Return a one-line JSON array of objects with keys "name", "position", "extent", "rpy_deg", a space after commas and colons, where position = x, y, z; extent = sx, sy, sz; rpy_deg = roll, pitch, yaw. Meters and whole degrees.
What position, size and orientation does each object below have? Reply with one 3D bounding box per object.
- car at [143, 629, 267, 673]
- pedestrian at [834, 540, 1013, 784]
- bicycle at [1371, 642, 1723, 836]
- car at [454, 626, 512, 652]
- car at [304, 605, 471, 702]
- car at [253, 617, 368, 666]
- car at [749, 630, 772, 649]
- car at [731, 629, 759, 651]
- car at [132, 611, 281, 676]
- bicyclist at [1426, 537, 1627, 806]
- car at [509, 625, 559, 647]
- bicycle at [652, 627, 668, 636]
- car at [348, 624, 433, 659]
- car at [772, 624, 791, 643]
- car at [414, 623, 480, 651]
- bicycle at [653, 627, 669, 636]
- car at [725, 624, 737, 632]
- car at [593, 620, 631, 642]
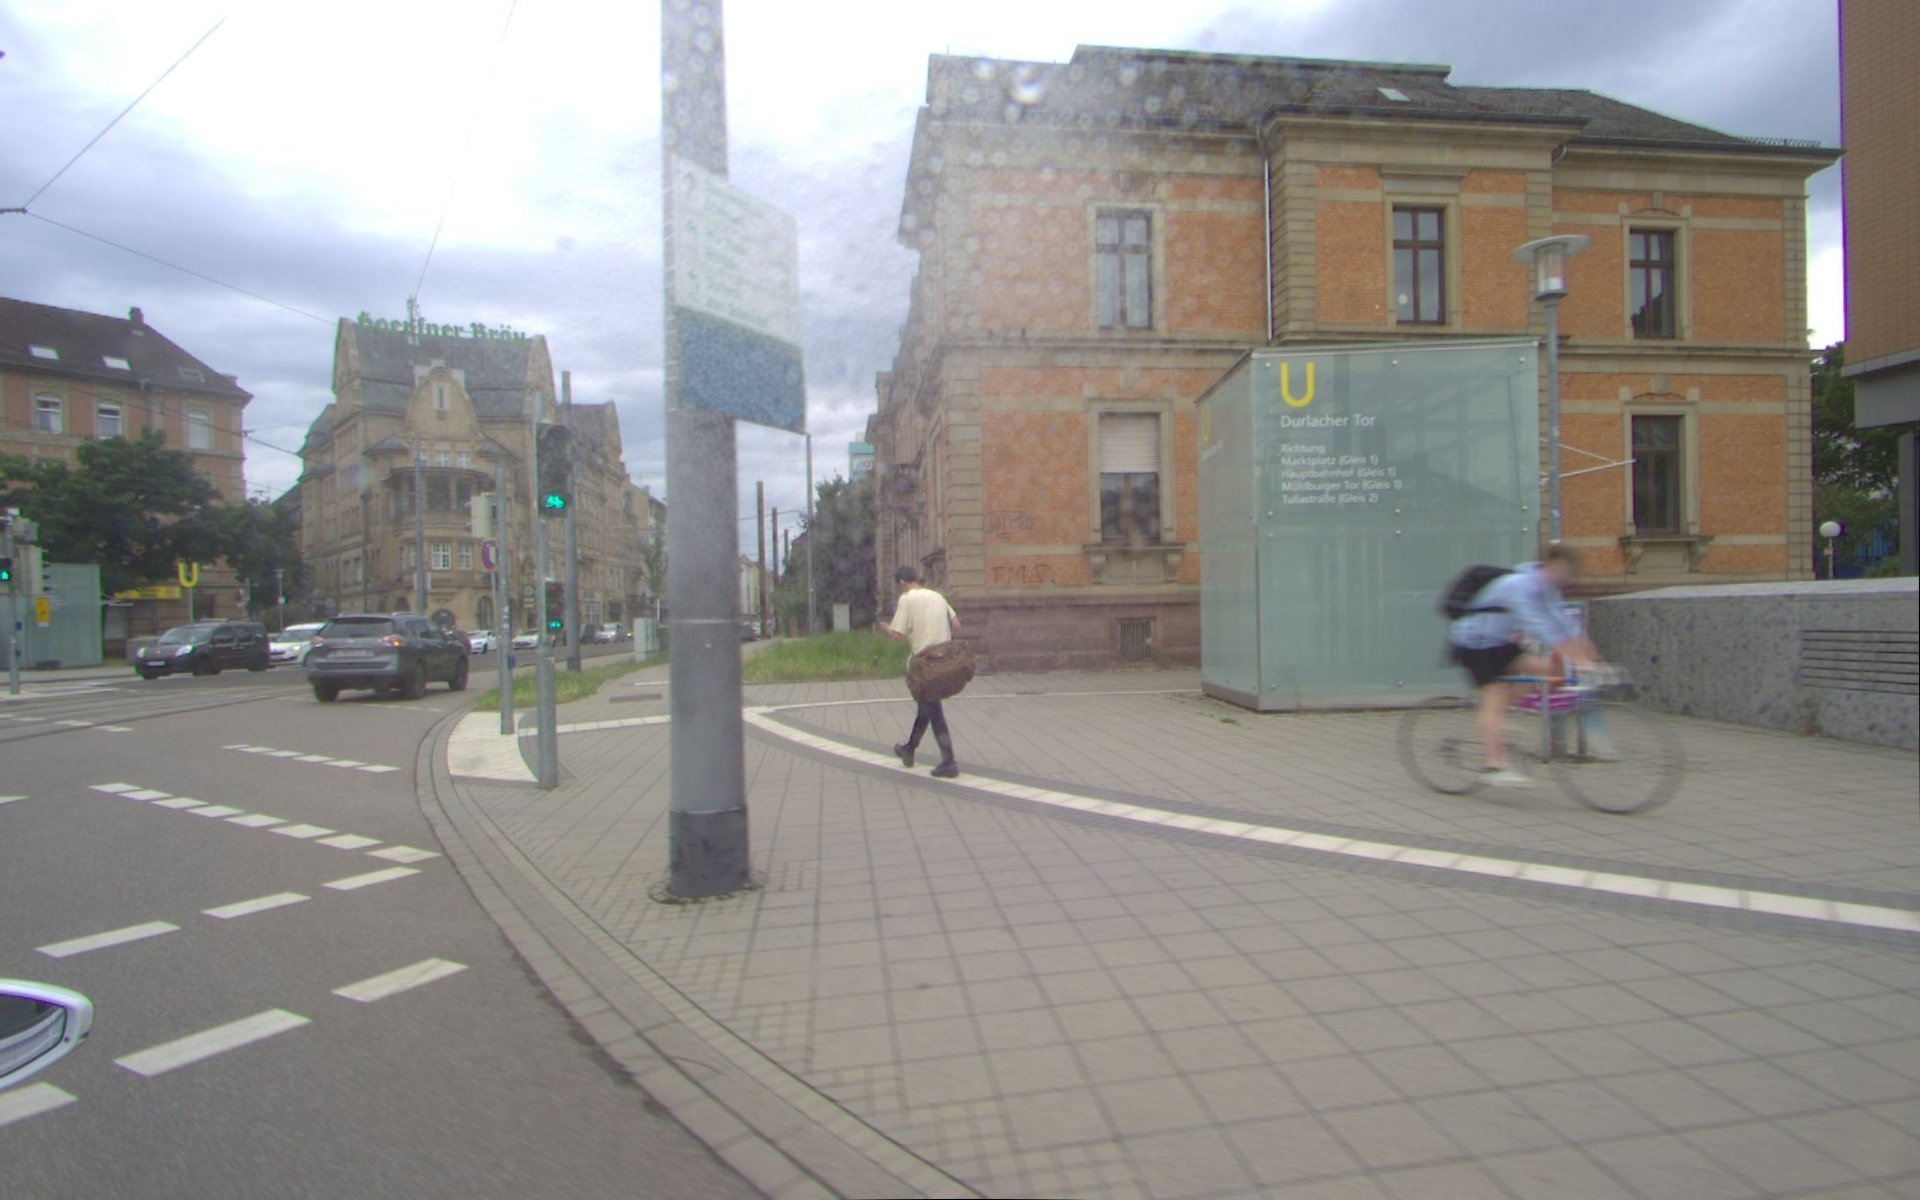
[{"name": "car", "position": [-27.511, 1.830, 36.661], "extent": [1.661, 1.460, 4.001], "rpy_deg": [-1, -1, -3]}, {"name": "pedestrian", "position": [-0.326, 0.493, 8.509], "extent": [0.878, 1.892, 1.275], "rpy_deg": [-1, 0, -42]}, {"name": "bicycle", "position": [3.659, 0.799, 6.415], "extent": [0.663, 0.946, 1.848], "rpy_deg": [-4, 2, -32]}, {"name": "car", "position": [-28.939, 2.340, 60.877], "extent": [1.719, 1.397, 4.362], "rpy_deg": [-4, -1, -6]}, {"name": "car", "position": [-11.550, 1.025, 20.507], "extent": [1.722, 1.778, 3.922], "rpy_deg": [0, -1, -10]}, {"name": "car", "position": [-28.106, 1.743, 43.539], "extent": [1.833, 1.941, 5.101], "rpy_deg": [-1, -1, -2]}, {"name": "car", "position": [-18.129, 3.596, 91.152], "extent": [1.727, 1.595, 3.930], "rpy_deg": [-3, -1, -8]}, {"name": "car", "position": [-15.995, 2.939, 74.654], "extent": [1.611, 1.452, 3.930], "rpy_deg": [-3, -1, -8]}, {"name": "car", "position": [-24.241, 1.353, 32.441], "extent": [1.661, 1.925, 4.387], "rpy_deg": [-1, -1, -3]}, {"name": "bicyclist", "position": [3.631, 0.412, 6.452], "extent": [0.683, 1.582, 0.920], "rpy_deg": [-3, 2, -33]}, {"name": "car", "position": [-29.765, 2.510, 70.046], "extent": [1.895, 1.398, 4.258], "rpy_deg": [-1, -1, -4]}, {"name": "bicycle", "position": [-37.384, 3.945, 124.724], "extent": [1.893, 1.014, 0.462], "rpy_deg": [-1, 0, -15]}, {"name": "car", "position": [-28.244, 2.024, 49.841], "extent": [1.833, 1.554, 4.303], "rpy_deg": [-3, -1, -2]}, {"name": "car", "position": [-21.821, 4.079, 122.514], "extent": [1.822, 2.142, 4.983], "rpy_deg": [-4, -1, -7]}, {"name": "car", "position": [-28.460, 2.037, 55.682], "extent": [1.833, 1.417, 3.895], "rpy_deg": [-3, -1, -4]}, {"name": "bicycle", "position": [-37.438, 3.949, 125.463], "extent": [1.936, 1.014, 0.462], "rpy_deg": [-1, 0, -15]}, {"name": "car", "position": [-42.923, 5.187, 187.825], "extent": [1.731, 1.468, 4.613], "rpy_deg": [-1, -1, -7]}, {"name": "car", "position": [-28.815, 2.557, 83.048], "extent": [1.833, 1.728, 4.908], "rpy_deg": [-2, -1, -6]}]
